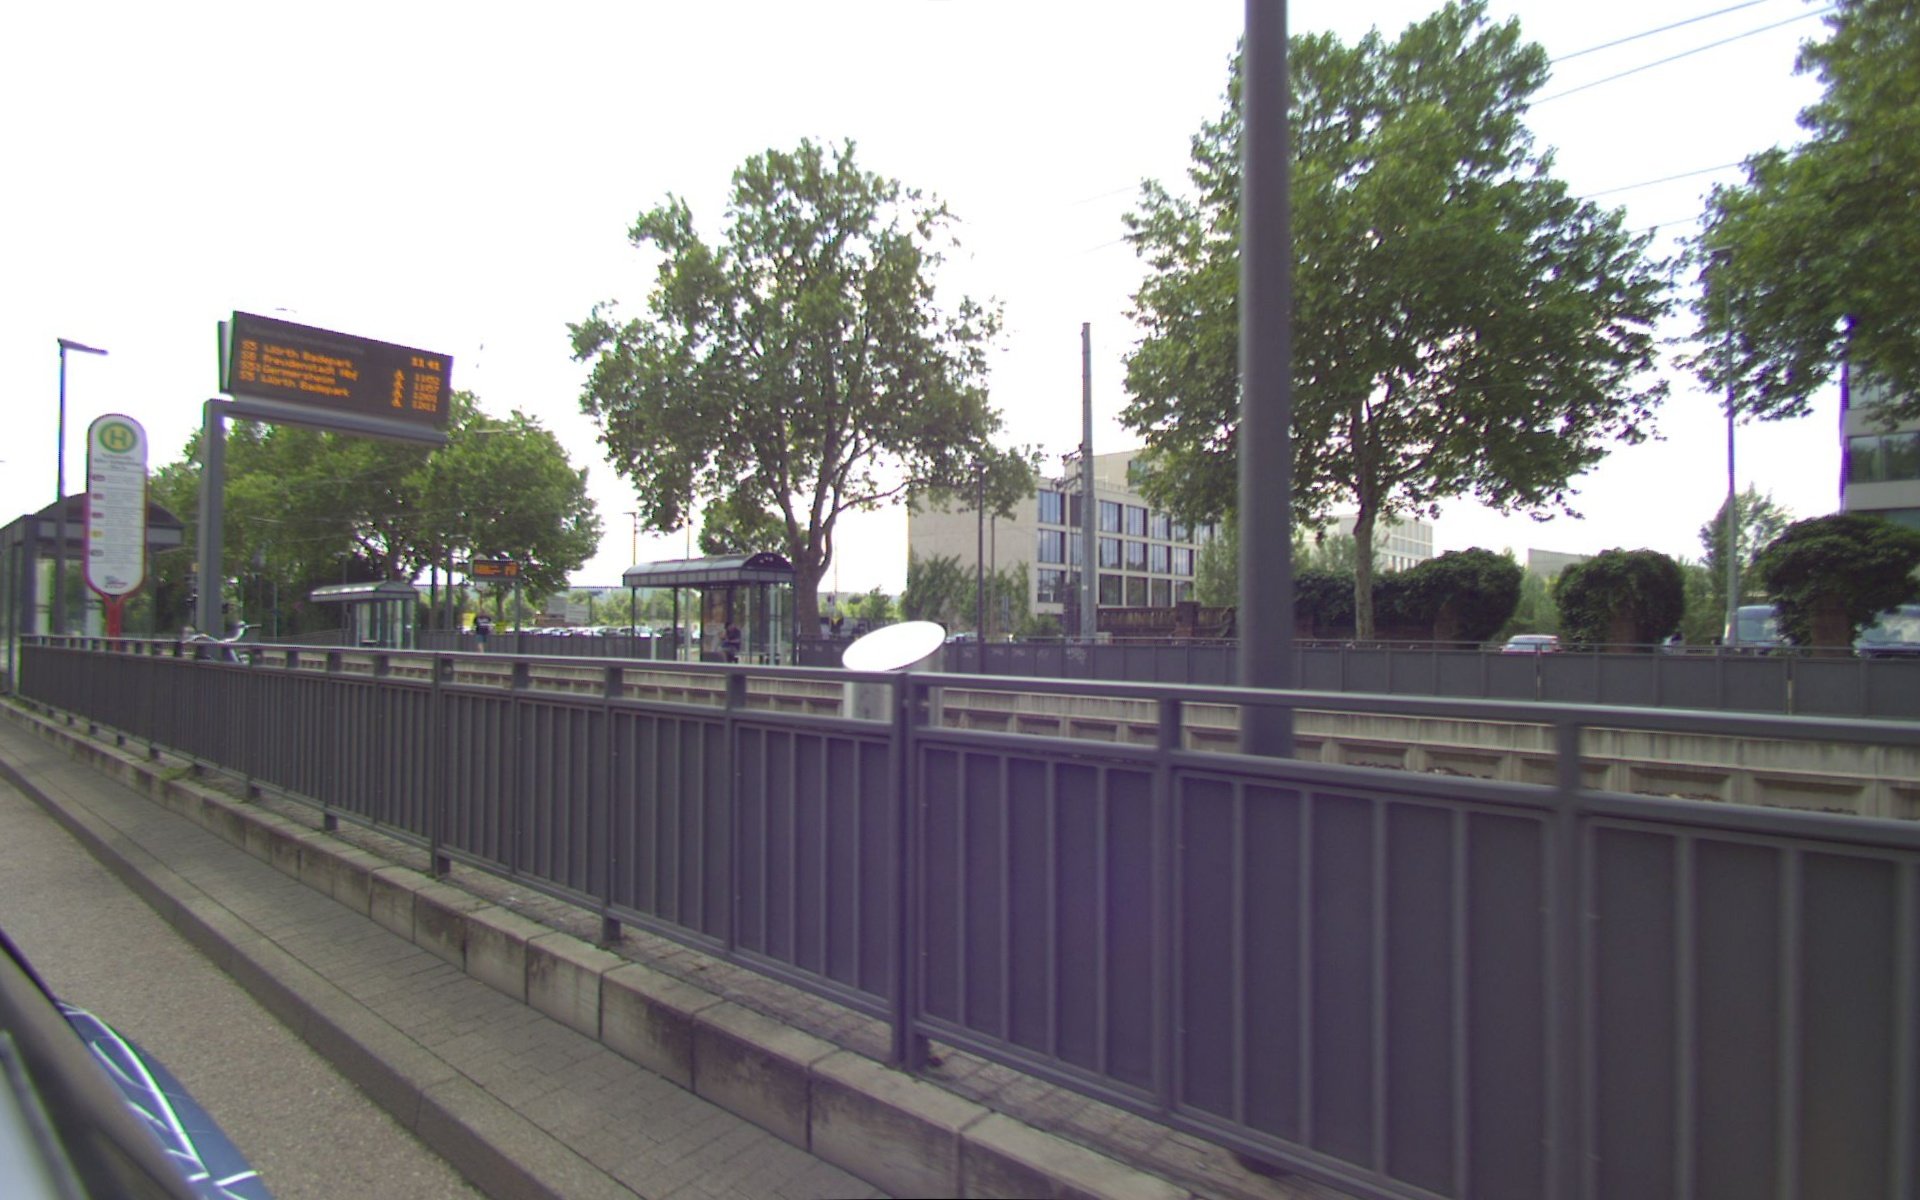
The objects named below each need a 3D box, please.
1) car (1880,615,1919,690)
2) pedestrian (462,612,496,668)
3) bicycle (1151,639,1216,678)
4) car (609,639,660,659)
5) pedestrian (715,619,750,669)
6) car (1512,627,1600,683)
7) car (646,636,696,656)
[{"bbox_3d":[28.012,1.562,29.242,1.959,2.049,4.094,-1,-4,40],"label":"car"},{"bbox_3d":[-16.210,1.343,34.081,0.864,1.859,0.699,-2,-3,40],"label":"pedestrian"},{"bbox_3d":[7.800,2.008,35.167,3.003,1.176,0.635,-2,0,-44],"label":"bicycle"},{"bbox_3d":[-24.002,3.596,74.532,3.998,1.487,1.779,-2,-4,41],"label":"car"},{"bbox_3d":[-5.972,1.145,26.569,0.768,1.279,0.546,-2,-3,43],"label":"pedestrian"},{"bbox_3d":[20.492,1.900,34.730,1.899,1.810,4.094,-1,-4,40],"label":"car"},{"bbox_3d":[-21.821,3.444,76.381,3.998,1.487,1.779,-2,-4,41],"label":"car"}]
